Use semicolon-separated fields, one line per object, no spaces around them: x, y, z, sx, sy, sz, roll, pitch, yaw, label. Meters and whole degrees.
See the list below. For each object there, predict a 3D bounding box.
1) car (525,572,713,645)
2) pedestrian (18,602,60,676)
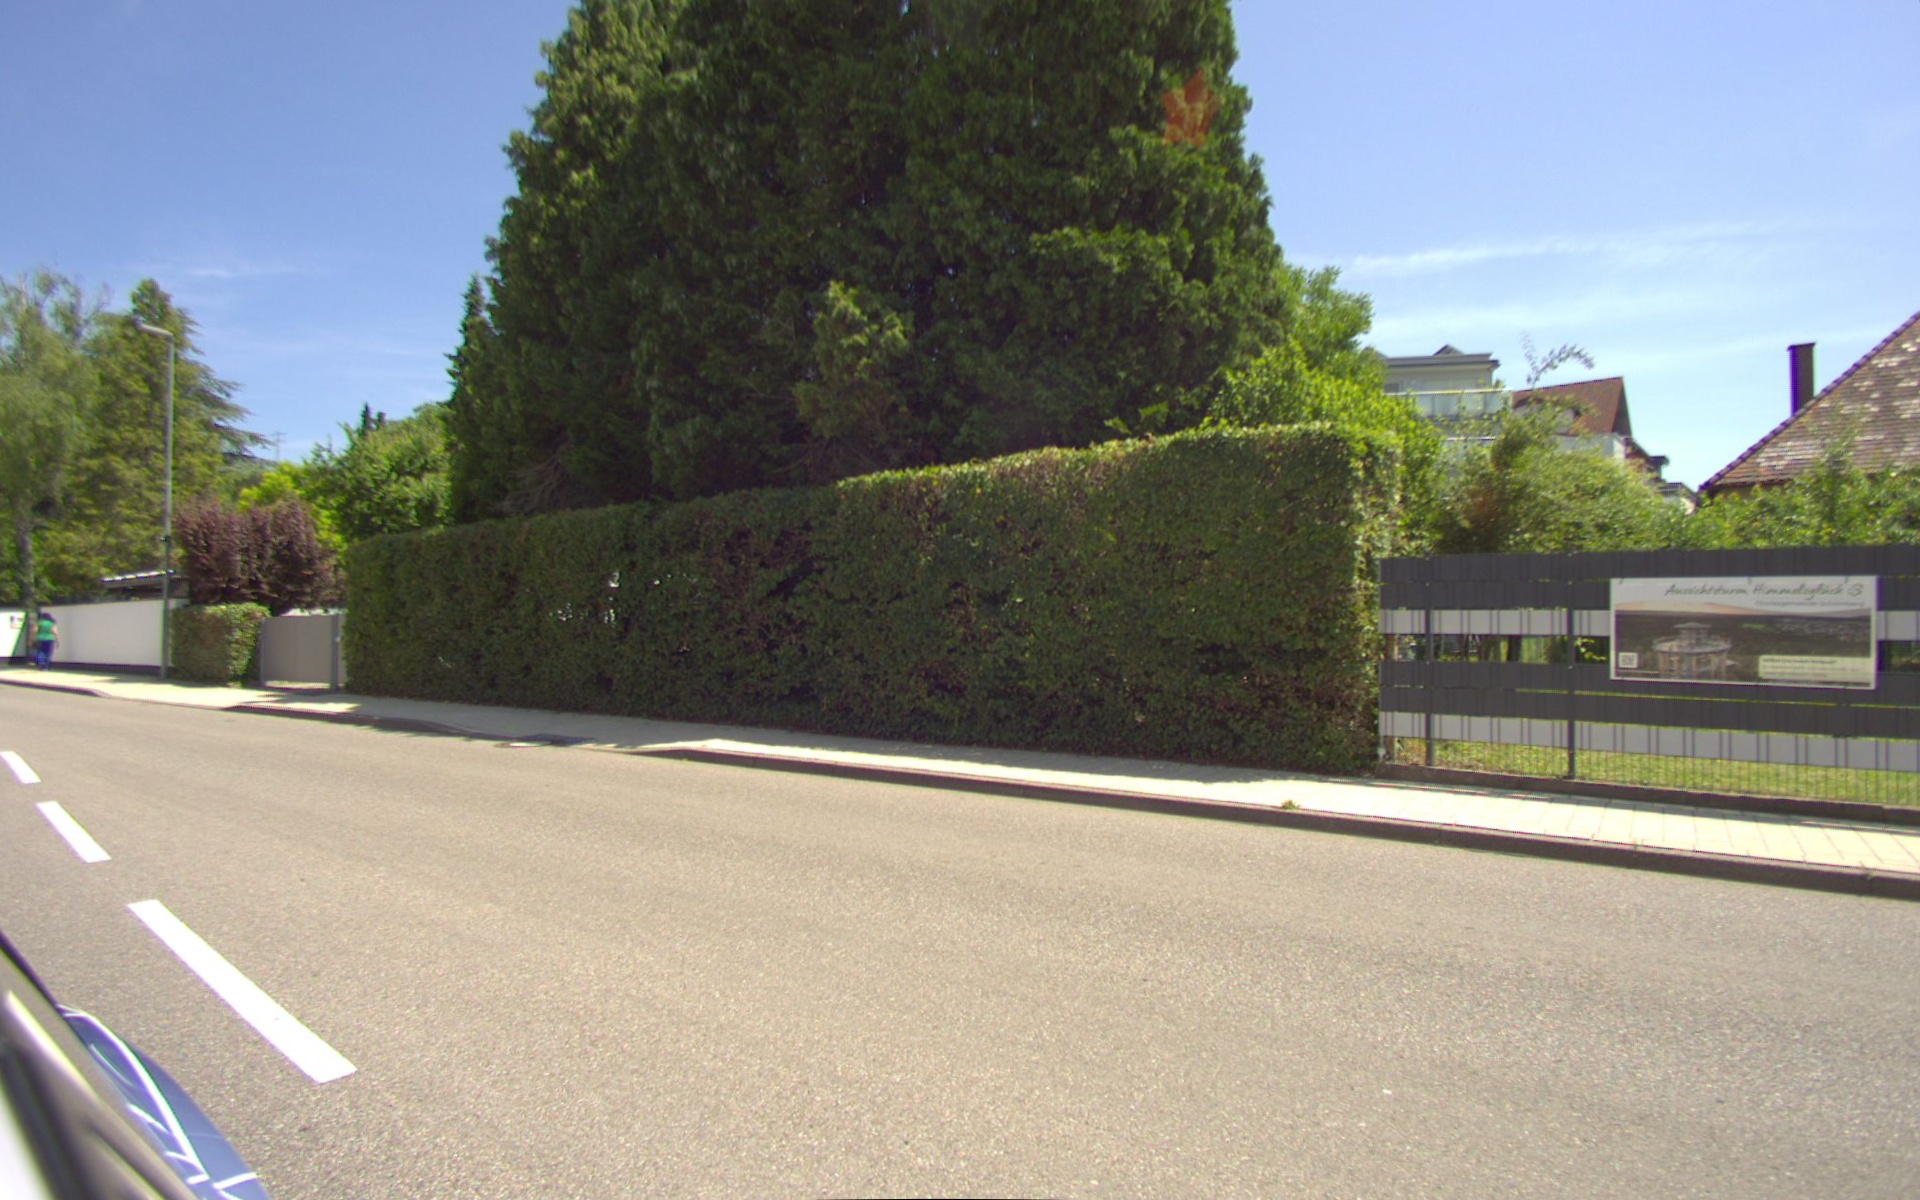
-9.725;0.207;29.184;2.158;1.908;4.755;0;0;38;car
-25.575;1.063;28.114;0.802;2.029;0.714;0;0;36;pedestrian
